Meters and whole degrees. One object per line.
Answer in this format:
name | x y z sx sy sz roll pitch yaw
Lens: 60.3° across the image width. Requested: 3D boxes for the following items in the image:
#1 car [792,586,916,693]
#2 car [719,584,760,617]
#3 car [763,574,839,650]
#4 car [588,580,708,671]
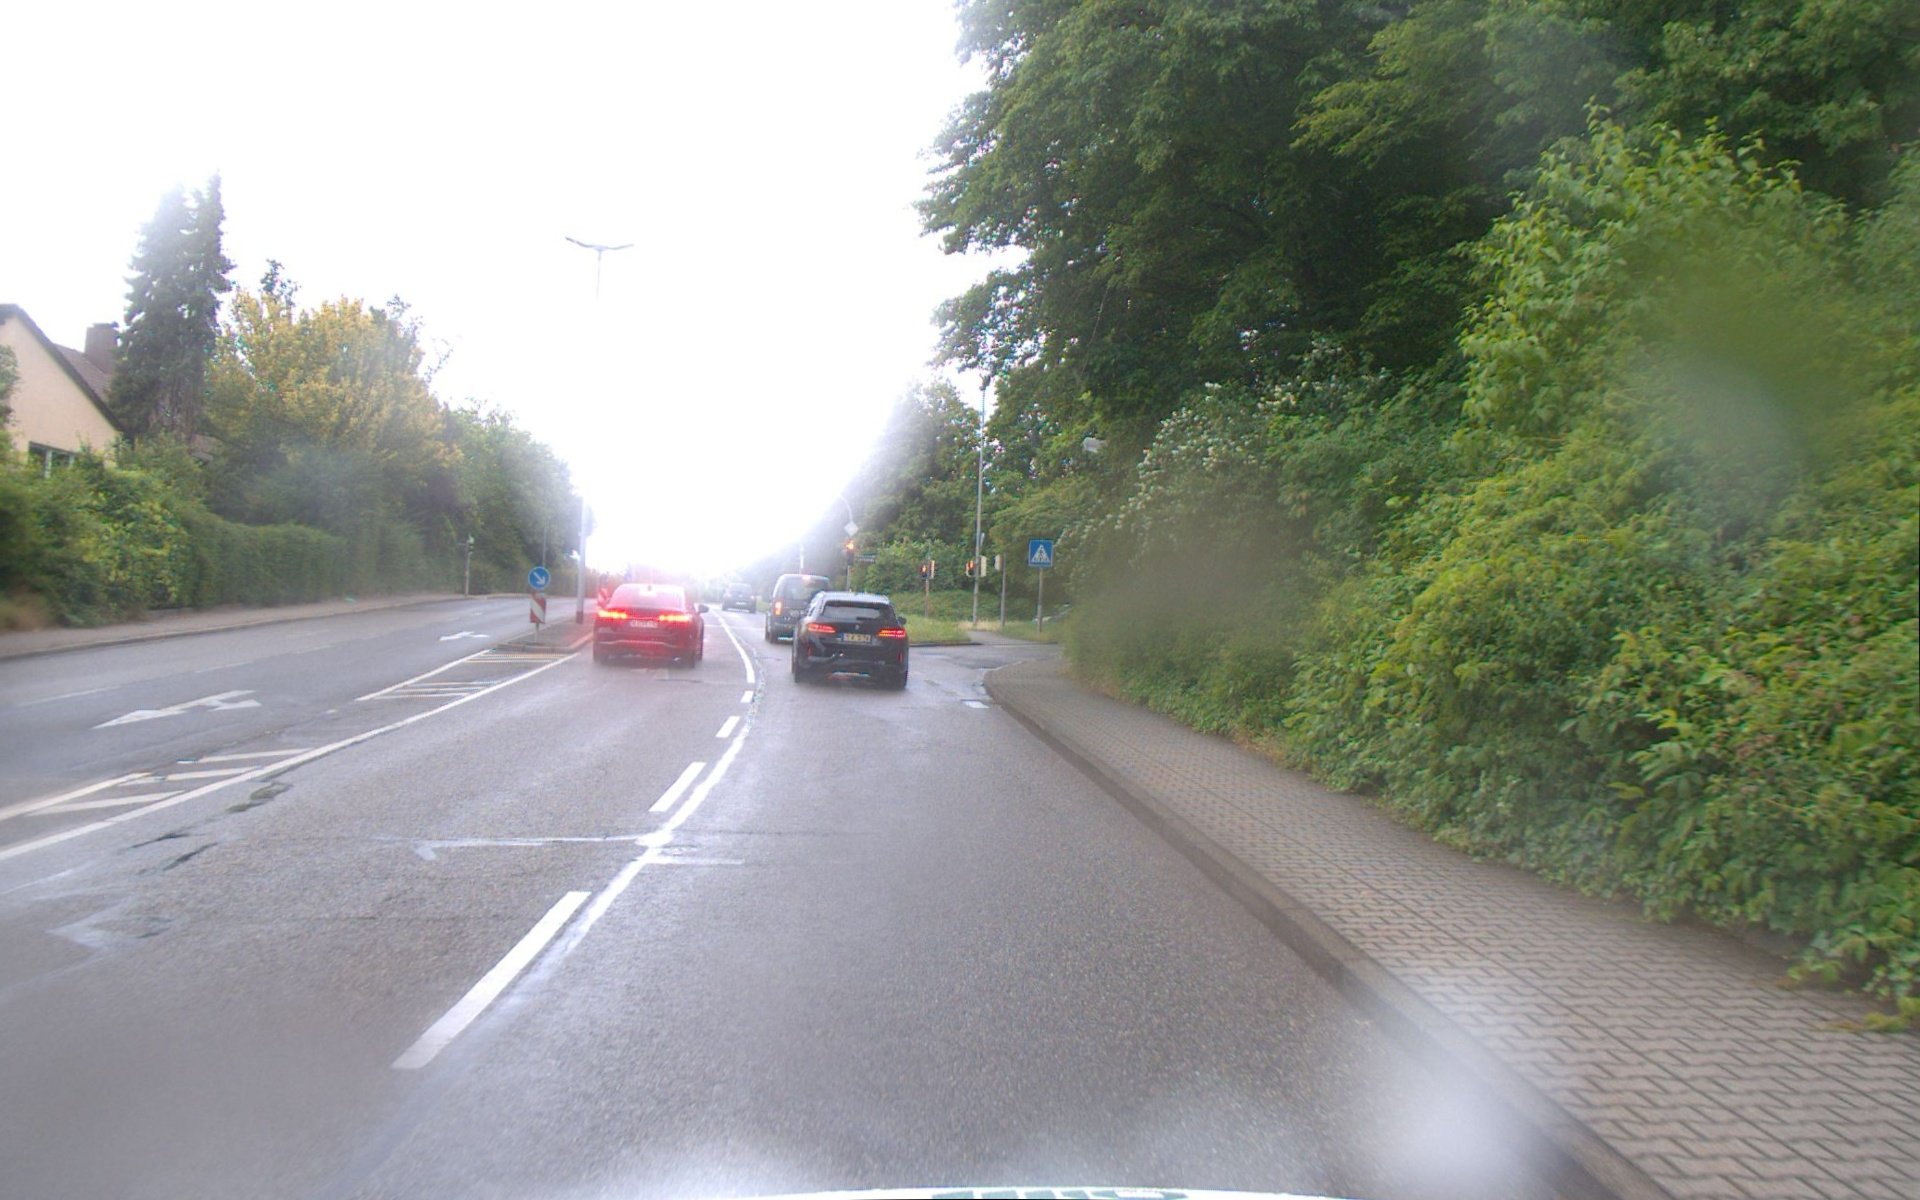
car | -1.883 0.660 28.549 1.861 1.578 4.609 4 -1 -5
car | -11.582 0.035 86.614 1.957 1.652 3.943 1 0 -10
car | -4.413 0.313 45.431 1.784 1.901 3.945 4 0 -8
car | -5.708 0.438 30.680 1.956 1.554 4.319 1 0 -8
